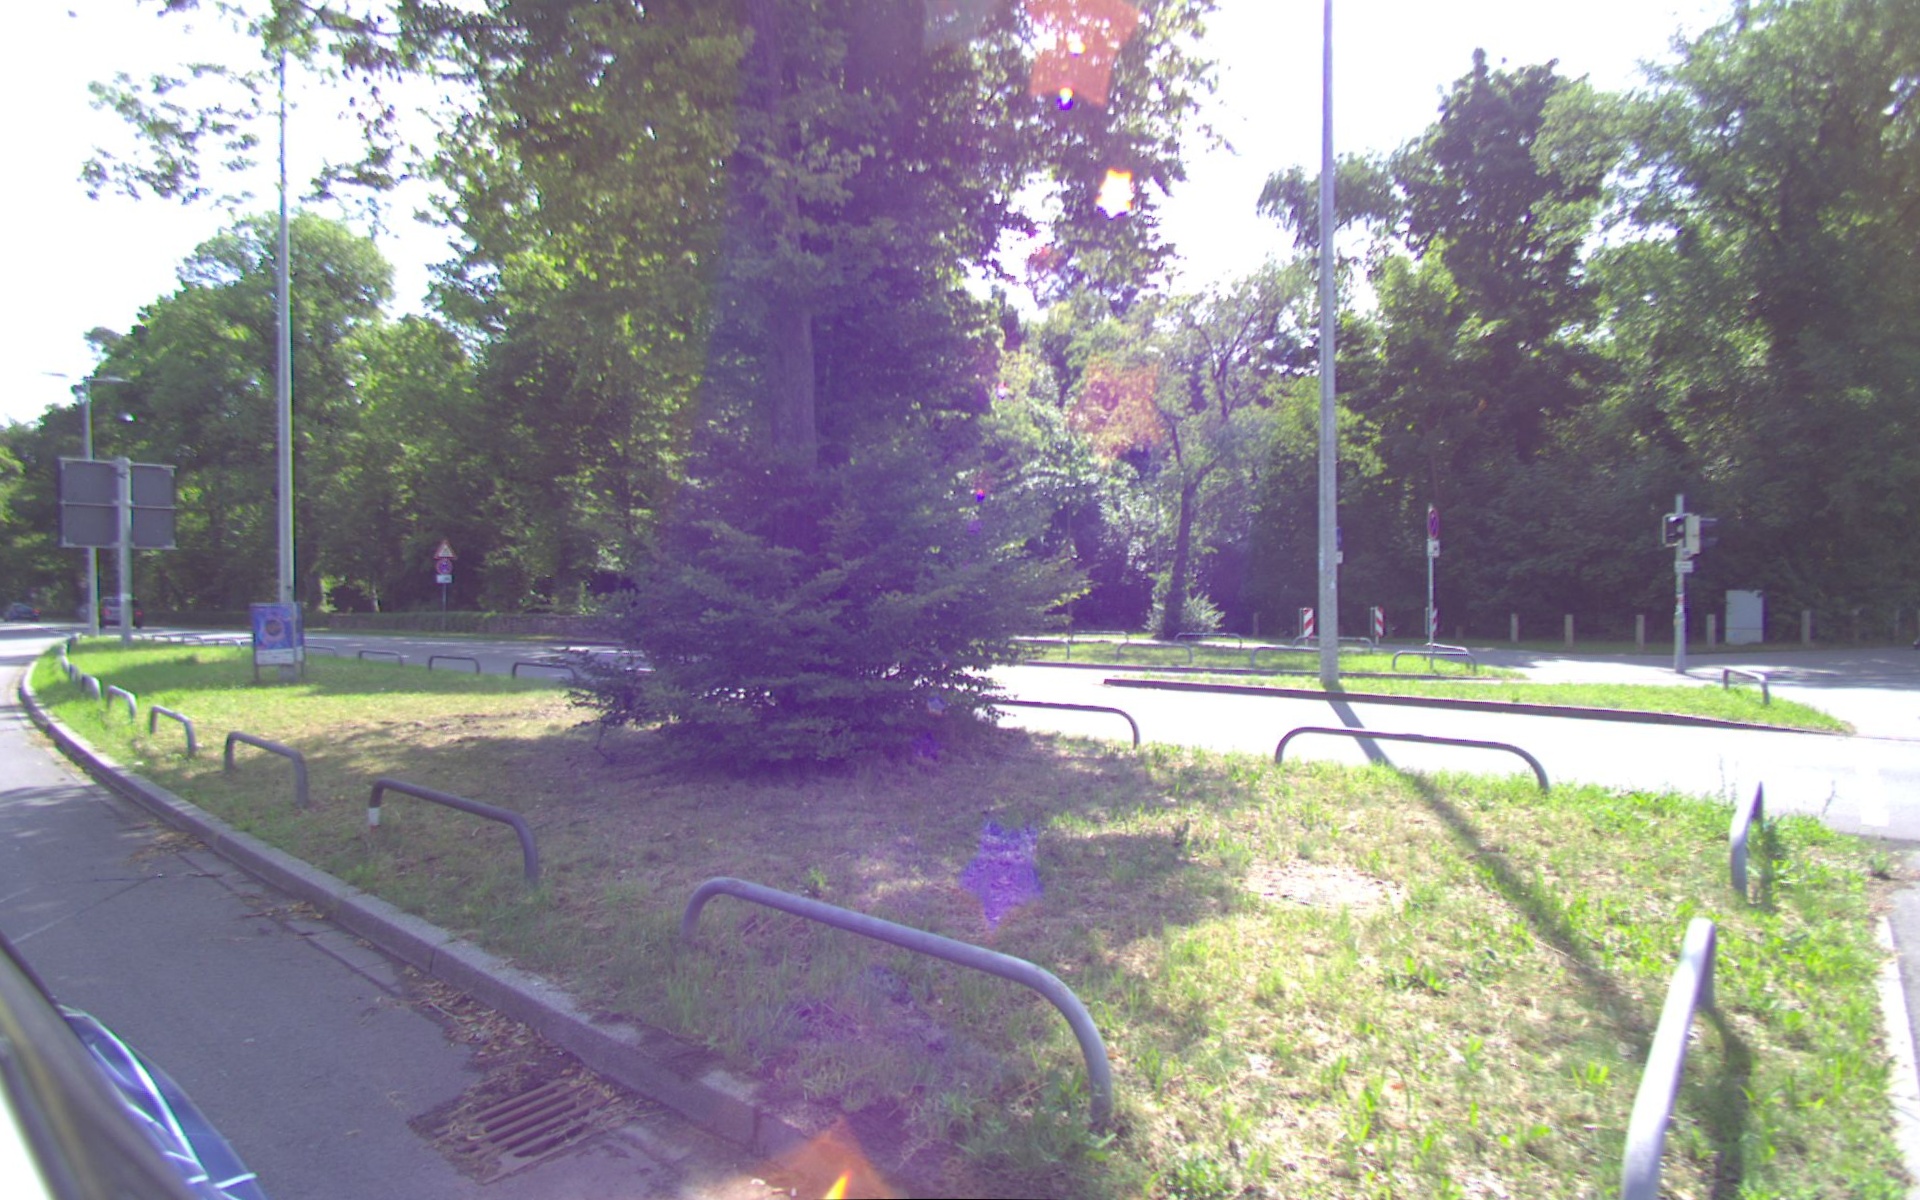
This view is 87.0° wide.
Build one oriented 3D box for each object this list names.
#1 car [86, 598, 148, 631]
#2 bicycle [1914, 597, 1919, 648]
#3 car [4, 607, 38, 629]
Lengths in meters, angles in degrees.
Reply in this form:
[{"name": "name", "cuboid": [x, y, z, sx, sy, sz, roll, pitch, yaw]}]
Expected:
[{"name": "car", "cuboid": [-45.197, 0.758, 54.217, 4.295, 1.642, 1.744, -1, 2, 40]}, {"name": "bicycle", "cuboid": [23.094, 0.528, 23.905, 1.208, 1.182, 0.422, 0, 0, -27]}, {"name": "car", "cuboid": [-72.127, 1.366, 77.735, 4.069, 1.457, 1.675, 1, 3, 45]}]
